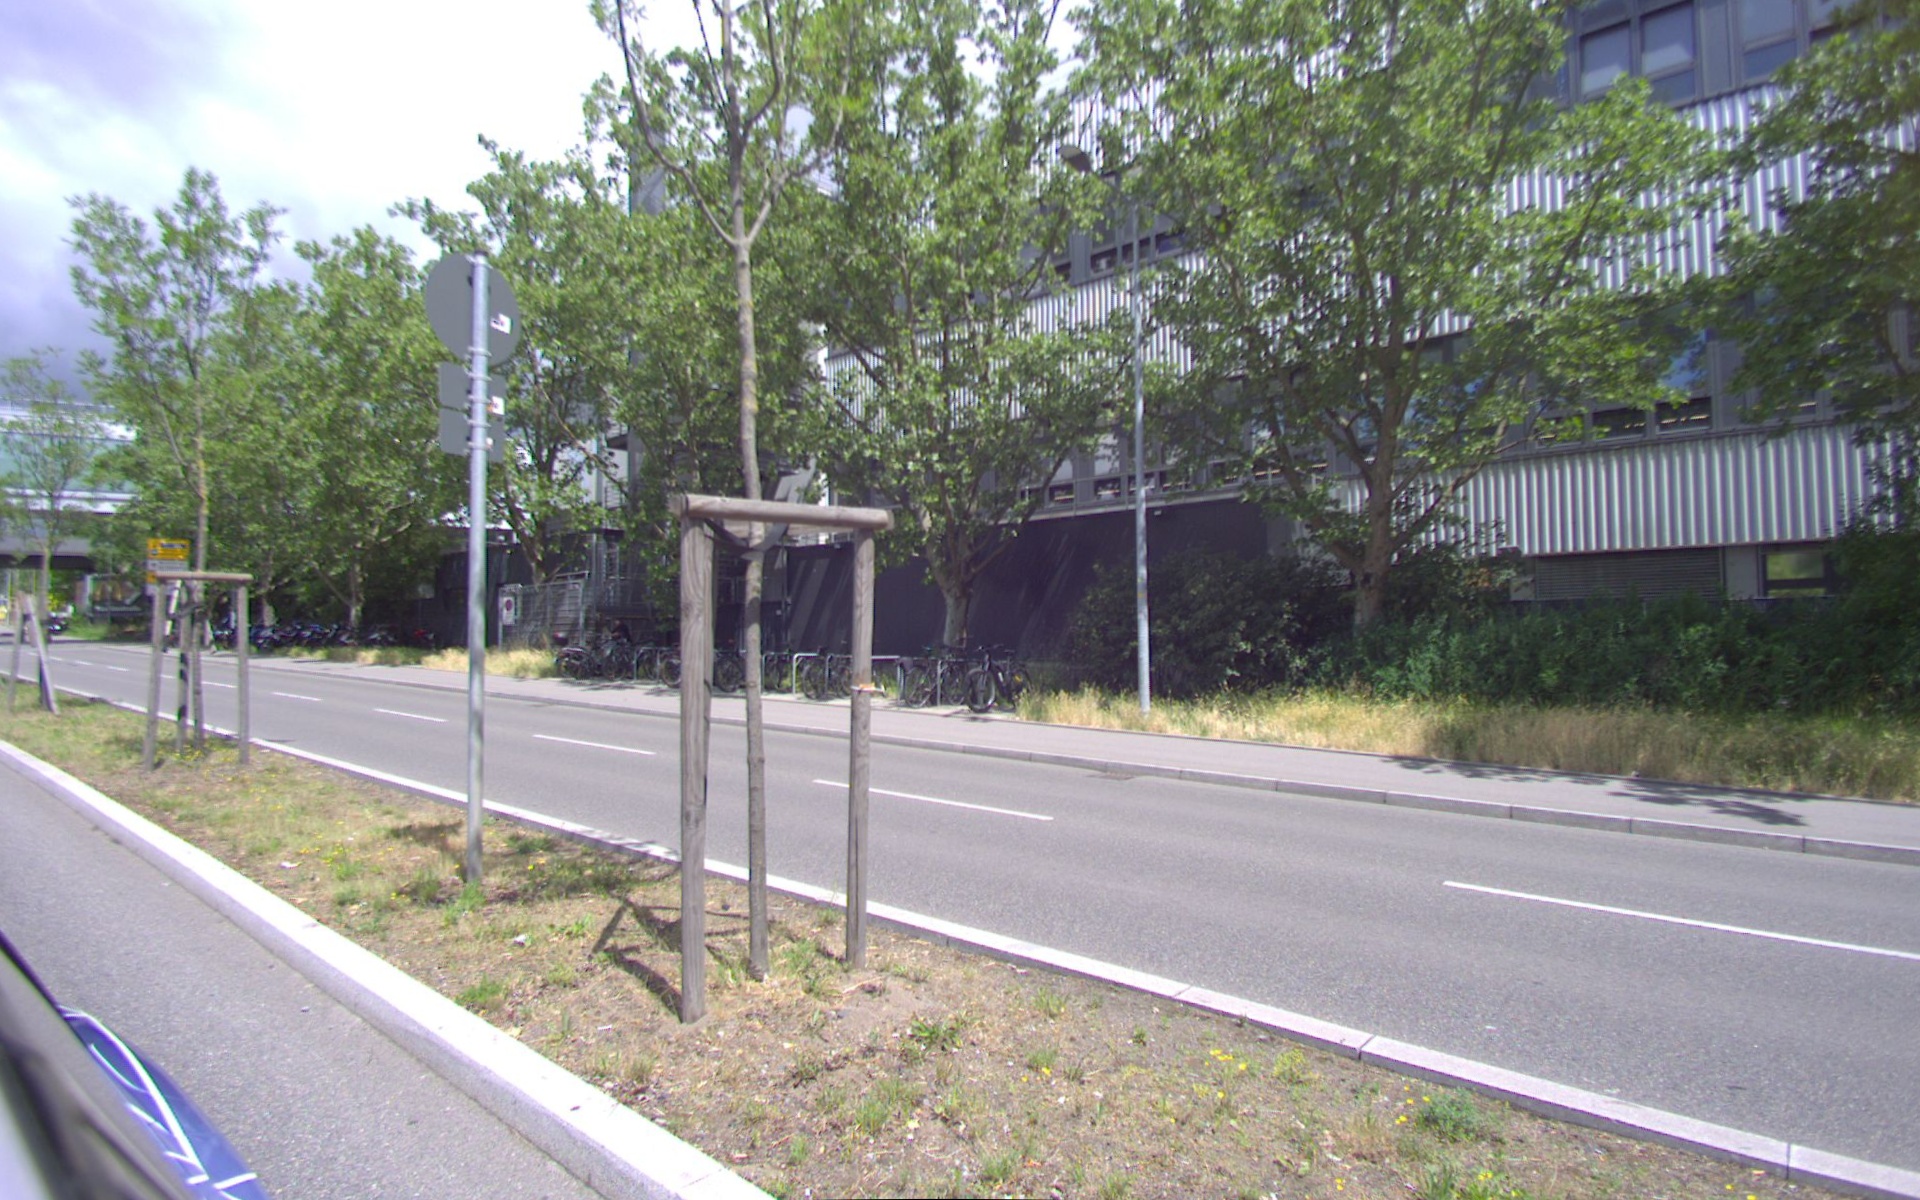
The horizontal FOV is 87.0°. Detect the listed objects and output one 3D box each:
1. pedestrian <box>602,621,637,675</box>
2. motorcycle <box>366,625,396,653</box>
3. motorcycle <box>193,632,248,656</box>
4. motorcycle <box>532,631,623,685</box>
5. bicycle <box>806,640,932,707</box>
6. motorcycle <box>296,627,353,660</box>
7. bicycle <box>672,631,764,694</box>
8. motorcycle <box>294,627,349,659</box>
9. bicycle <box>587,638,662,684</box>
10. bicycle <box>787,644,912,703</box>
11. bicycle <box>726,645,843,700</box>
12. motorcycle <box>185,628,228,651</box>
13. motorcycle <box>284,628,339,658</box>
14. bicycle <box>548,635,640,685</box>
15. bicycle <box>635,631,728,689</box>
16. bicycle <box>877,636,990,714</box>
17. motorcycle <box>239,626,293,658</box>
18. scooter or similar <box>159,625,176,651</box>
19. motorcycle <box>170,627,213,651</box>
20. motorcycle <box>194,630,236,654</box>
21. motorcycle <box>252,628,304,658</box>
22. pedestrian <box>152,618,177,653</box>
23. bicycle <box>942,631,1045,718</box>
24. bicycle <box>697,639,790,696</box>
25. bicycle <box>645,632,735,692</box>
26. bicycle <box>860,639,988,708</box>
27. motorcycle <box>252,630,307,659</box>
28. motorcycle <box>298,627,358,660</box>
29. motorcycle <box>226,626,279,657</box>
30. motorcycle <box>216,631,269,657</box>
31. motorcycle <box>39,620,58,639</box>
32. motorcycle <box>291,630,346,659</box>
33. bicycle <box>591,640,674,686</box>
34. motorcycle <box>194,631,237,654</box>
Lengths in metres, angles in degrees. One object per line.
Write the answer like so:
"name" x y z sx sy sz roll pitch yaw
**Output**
"pedestrian" -10.126 1.419 30.123 0.744 1.563 0.822 0 -1 -40
"motorcycle" -26.421 1.785 46.156 1.983 1.219 0.645 -3 -1 45
"motorcycle" -35.840 2.132 49.085 0.917 1.124 1.919 0 -3 28
"motorcycle" -9.924 1.474 26.315 0.805 1.319 2.113 -1 -1 38
"bicycle" -1.739 1.395 19.683 2.533 1.166 0.645 0 -1 -40
"motorcycle" -25.707 1.747 40.950 1.855 1.195 0.730 -2 0 -42
"bicycle" -5.377 1.364 22.573 0.805 1.292 1.899 -1 -1 38
"motorcycle" -26.965 1.805 42.760 0.655 1.219 1.857 -3 -1 43
"bicycle" -8.513 1.532 25.738 0.422 1.083 1.905 -1 -1 38
"bicycle" -2.185 1.441 20.296 2.532 1.104 0.697 2 -3 -40
"bicycle" -3.703 1.504 21.644 0.848 1.014 2.814 -1 -1 31
"motorcycle" -39.195 2.048 52.664 0.773 1.131 1.579 -3 -1 31
"motorcycle" -27.909 1.863 43.544 0.698 1.188 1.857 -3 -1 43
"bicycle" -9.339 1.502 25.909 0.805 1.189 2.113 -1 -1 38
"bicycle" -6.683 1.418 24.380 0.805 1.292 2.113 -1 -1 38
"bicycle" -0.434 1.300 18.175 0.555 1.267 2.379 -2 -2 42
"motorcycle" -31.367 1.889 45.773 1.905 1.354 0.867 -2 -1 -29
"scooter or similar" -39.117 1.862 49.944 1.478 1.245 0.350 0 0 40
"motorcycle" -40.882 2.080 53.830 1.721 1.180 0.777 -2 -1 -42
"motorcycle" -38.160 2.156 51.819 0.776 1.131 1.574 -3 -1 41
"motorcycle" -30.197 1.902 44.804 1.853 1.188 0.817 -2 -1 -35
"pedestrian" -37.991 1.666 48.341 0.812 1.624 0.760 -1 1 39
"bicycle" 0.606 1.243 17.364 0.489 1.374 2.144 -2 -2 42
"bicycle" -4.662 1.433 21.884 0.805 1.131 1.899 -1 -1 38
"bicycle" -6.177 1.397 23.213 0.805 1.292 1.899 -1 -1 38
"bicycle" -0.648 1.369 19.325 2.533 1.166 0.727 0 -1 -40
"motorcycle" -29.484 1.921 43.846 1.855 1.188 0.816 -2 -1 -41
"motorcycle" -24.527 1.673 39.282 1.855 1.182 0.746 -2 -1 -41
"motorcycle" -33.083 1.928 47.336 1.905 1.300 0.895 -2 -1 -29
"motorcycle" -34.250 2.073 48.351 1.904 1.124 0.924 -2 -1 -23
"motorcycle" -63.052 2.035 70.001 2.255 1.207 0.633 0 1 39
"motorcycle" -26.440 1.834 41.733 1.853 1.093 0.796 -2 -1 -35
"bicycle" -8.190 1.557 25.392 0.497 1.070 2.060 -1 -1 38
"motorcycle" -37.294 2.126 50.716 0.776 1.041 1.574 -3 -1 41
